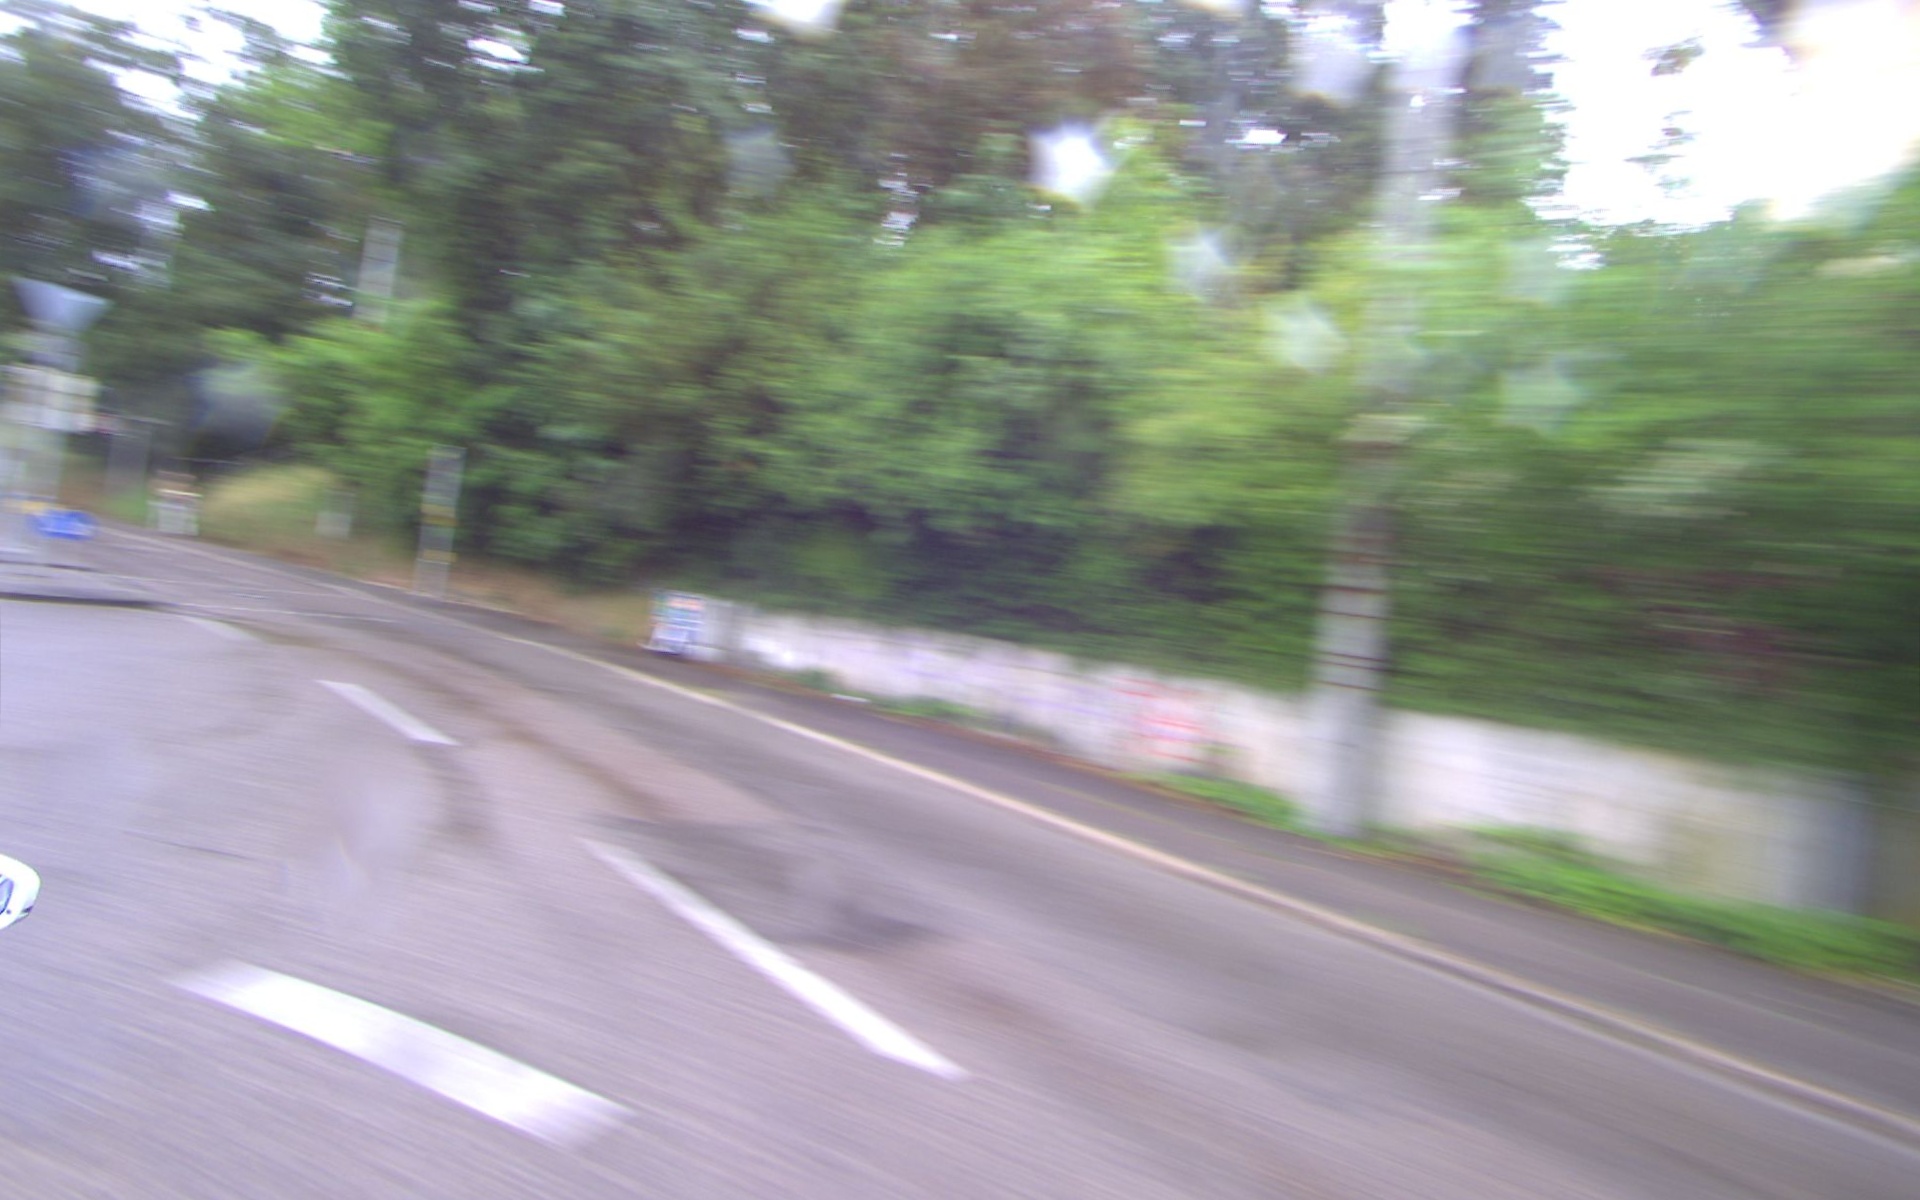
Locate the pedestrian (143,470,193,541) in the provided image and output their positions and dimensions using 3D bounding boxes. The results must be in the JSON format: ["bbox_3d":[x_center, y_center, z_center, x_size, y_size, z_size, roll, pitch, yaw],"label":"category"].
[{"bbox_3d":[-21.670,-2.575,27.520,0.786,1.773,0.648,10,0,31],"label":"pedestrian"}]

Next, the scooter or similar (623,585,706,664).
[{"bbox_3d":[-4.935,0.391,16.723,0.599,1.088,1.750,8,-1,-38],"label":"scooter or similar"}]
